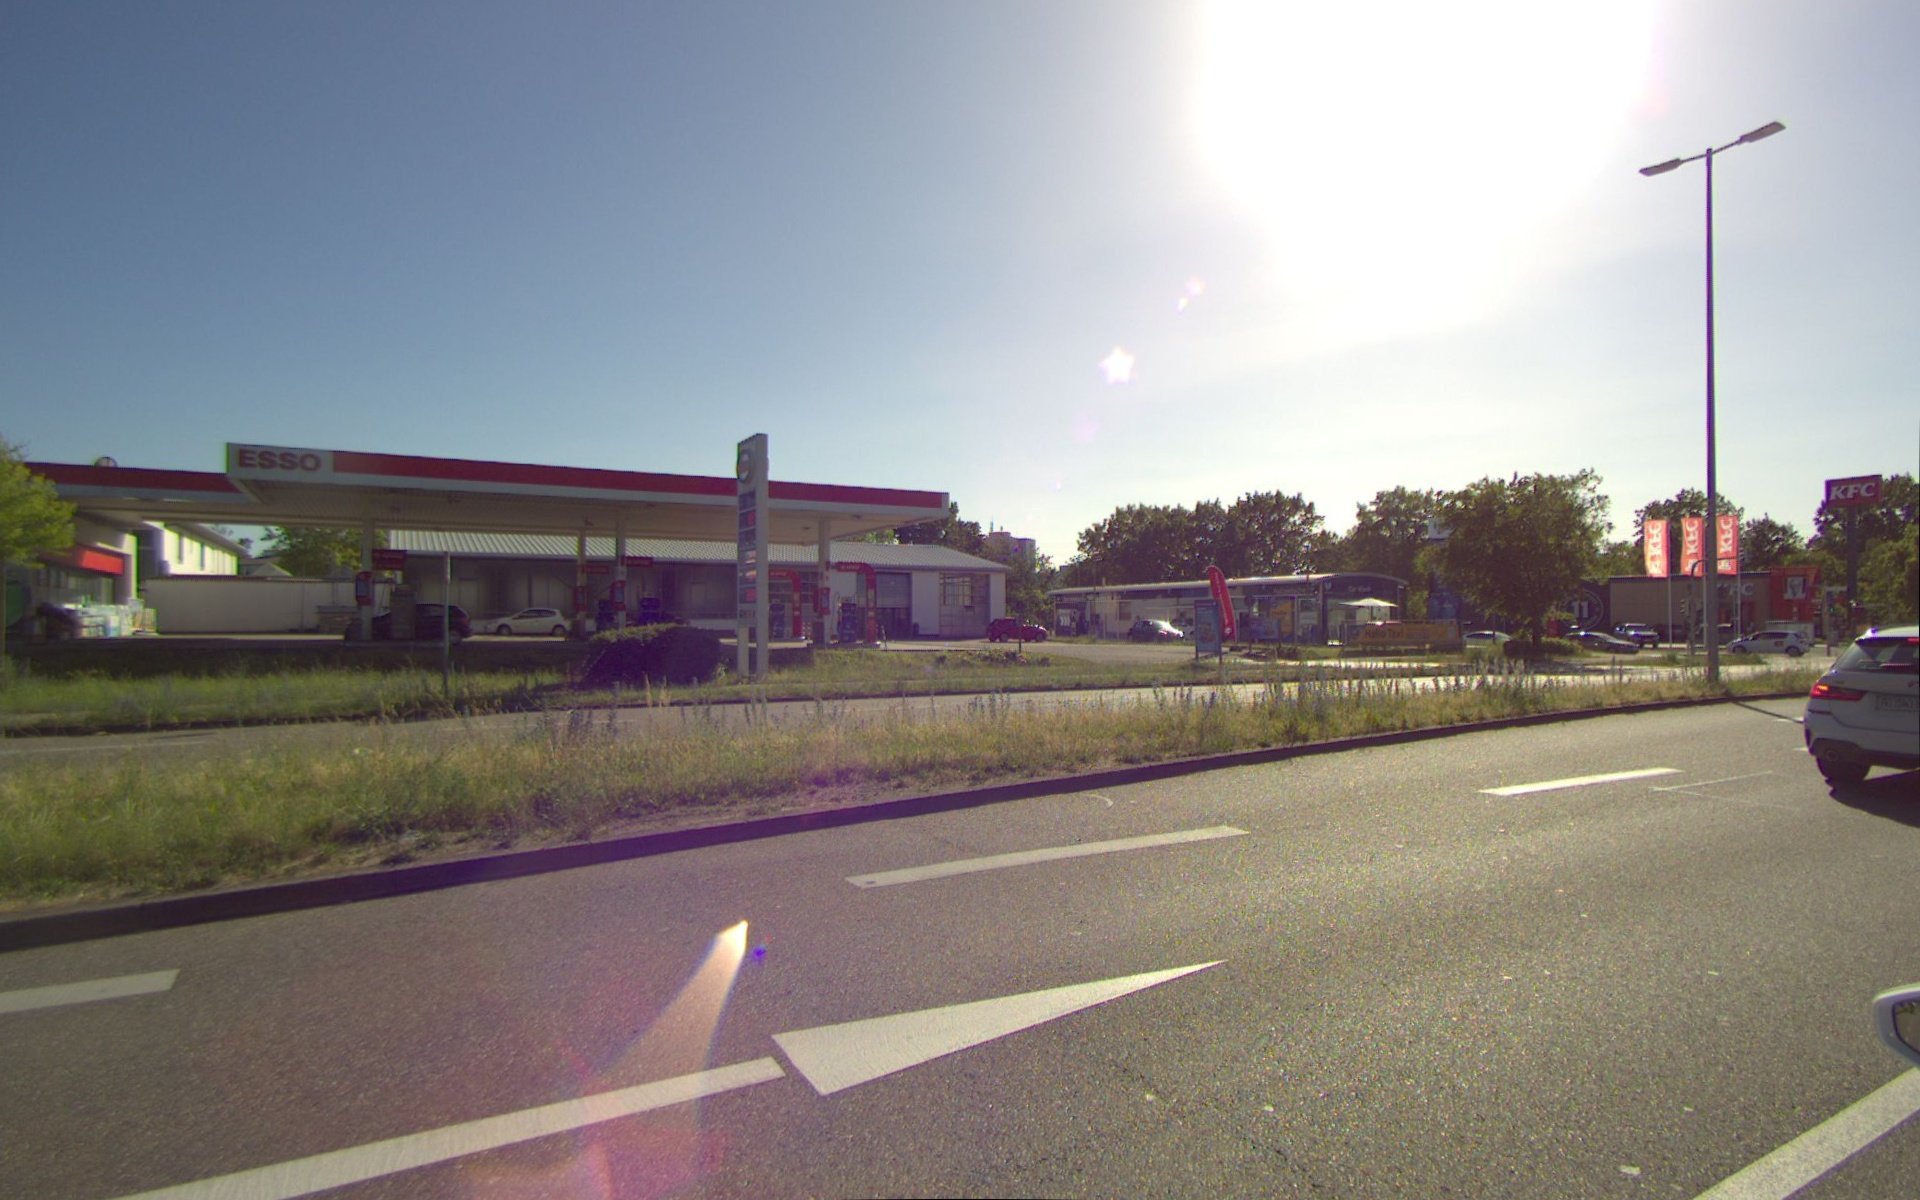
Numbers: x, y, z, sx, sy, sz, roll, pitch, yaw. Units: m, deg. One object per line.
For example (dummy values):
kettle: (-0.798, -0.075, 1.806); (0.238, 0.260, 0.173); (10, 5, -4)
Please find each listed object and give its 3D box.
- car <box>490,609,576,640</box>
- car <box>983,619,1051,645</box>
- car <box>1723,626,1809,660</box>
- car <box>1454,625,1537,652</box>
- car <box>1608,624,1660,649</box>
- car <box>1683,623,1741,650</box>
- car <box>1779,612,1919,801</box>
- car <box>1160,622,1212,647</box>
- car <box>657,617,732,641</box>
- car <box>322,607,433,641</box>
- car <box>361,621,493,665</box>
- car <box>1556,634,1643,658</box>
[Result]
car: (-21.647, 1.240, 50.934); (3.812, 1.509, 1.984); (2, 0, -30)
car: (3.532, 1.975, 62.257); (3.948, 1.491, 1.521); (2, 0, -24)
car: (48.285, 2.551, 60.200); (1.985, 1.837, 3.726); (2, 0, -42)
car: (35.823, 2.574, 67.307); (1.914, 1.600, 4.599); (2, 0, -31)
car: (49.754, 2.667, 74.220); (1.896, 1.763, 4.099); (1, 0, 14)
car: (54.511, 2.613, 72.932); (1.896, 1.763, 4.099); (1, 0, 14)
car: (9.668, 0.918, 9.273); (4.543, 1.506, 1.803); (2, 0, -30)
car: (14.605, 2.235, 65.004); (1.516, 1.461, 3.123); (1, 0, -31)
car: (-14.561, 1.604, 55.097); (3.687, 1.203, 1.667); (2, 0, -30)
car: (-27.773, 1.143, 48.045); (4.489, 1.486, 1.984); (2, 0, -30)
car: (-18.560, 1.463, 35.034); (3.953, 1.423, 1.984); (1, -1, -31)
car: (38.831, 2.789, 61.053); (1.850, 1.268, 4.062); (2, 0, -31)
